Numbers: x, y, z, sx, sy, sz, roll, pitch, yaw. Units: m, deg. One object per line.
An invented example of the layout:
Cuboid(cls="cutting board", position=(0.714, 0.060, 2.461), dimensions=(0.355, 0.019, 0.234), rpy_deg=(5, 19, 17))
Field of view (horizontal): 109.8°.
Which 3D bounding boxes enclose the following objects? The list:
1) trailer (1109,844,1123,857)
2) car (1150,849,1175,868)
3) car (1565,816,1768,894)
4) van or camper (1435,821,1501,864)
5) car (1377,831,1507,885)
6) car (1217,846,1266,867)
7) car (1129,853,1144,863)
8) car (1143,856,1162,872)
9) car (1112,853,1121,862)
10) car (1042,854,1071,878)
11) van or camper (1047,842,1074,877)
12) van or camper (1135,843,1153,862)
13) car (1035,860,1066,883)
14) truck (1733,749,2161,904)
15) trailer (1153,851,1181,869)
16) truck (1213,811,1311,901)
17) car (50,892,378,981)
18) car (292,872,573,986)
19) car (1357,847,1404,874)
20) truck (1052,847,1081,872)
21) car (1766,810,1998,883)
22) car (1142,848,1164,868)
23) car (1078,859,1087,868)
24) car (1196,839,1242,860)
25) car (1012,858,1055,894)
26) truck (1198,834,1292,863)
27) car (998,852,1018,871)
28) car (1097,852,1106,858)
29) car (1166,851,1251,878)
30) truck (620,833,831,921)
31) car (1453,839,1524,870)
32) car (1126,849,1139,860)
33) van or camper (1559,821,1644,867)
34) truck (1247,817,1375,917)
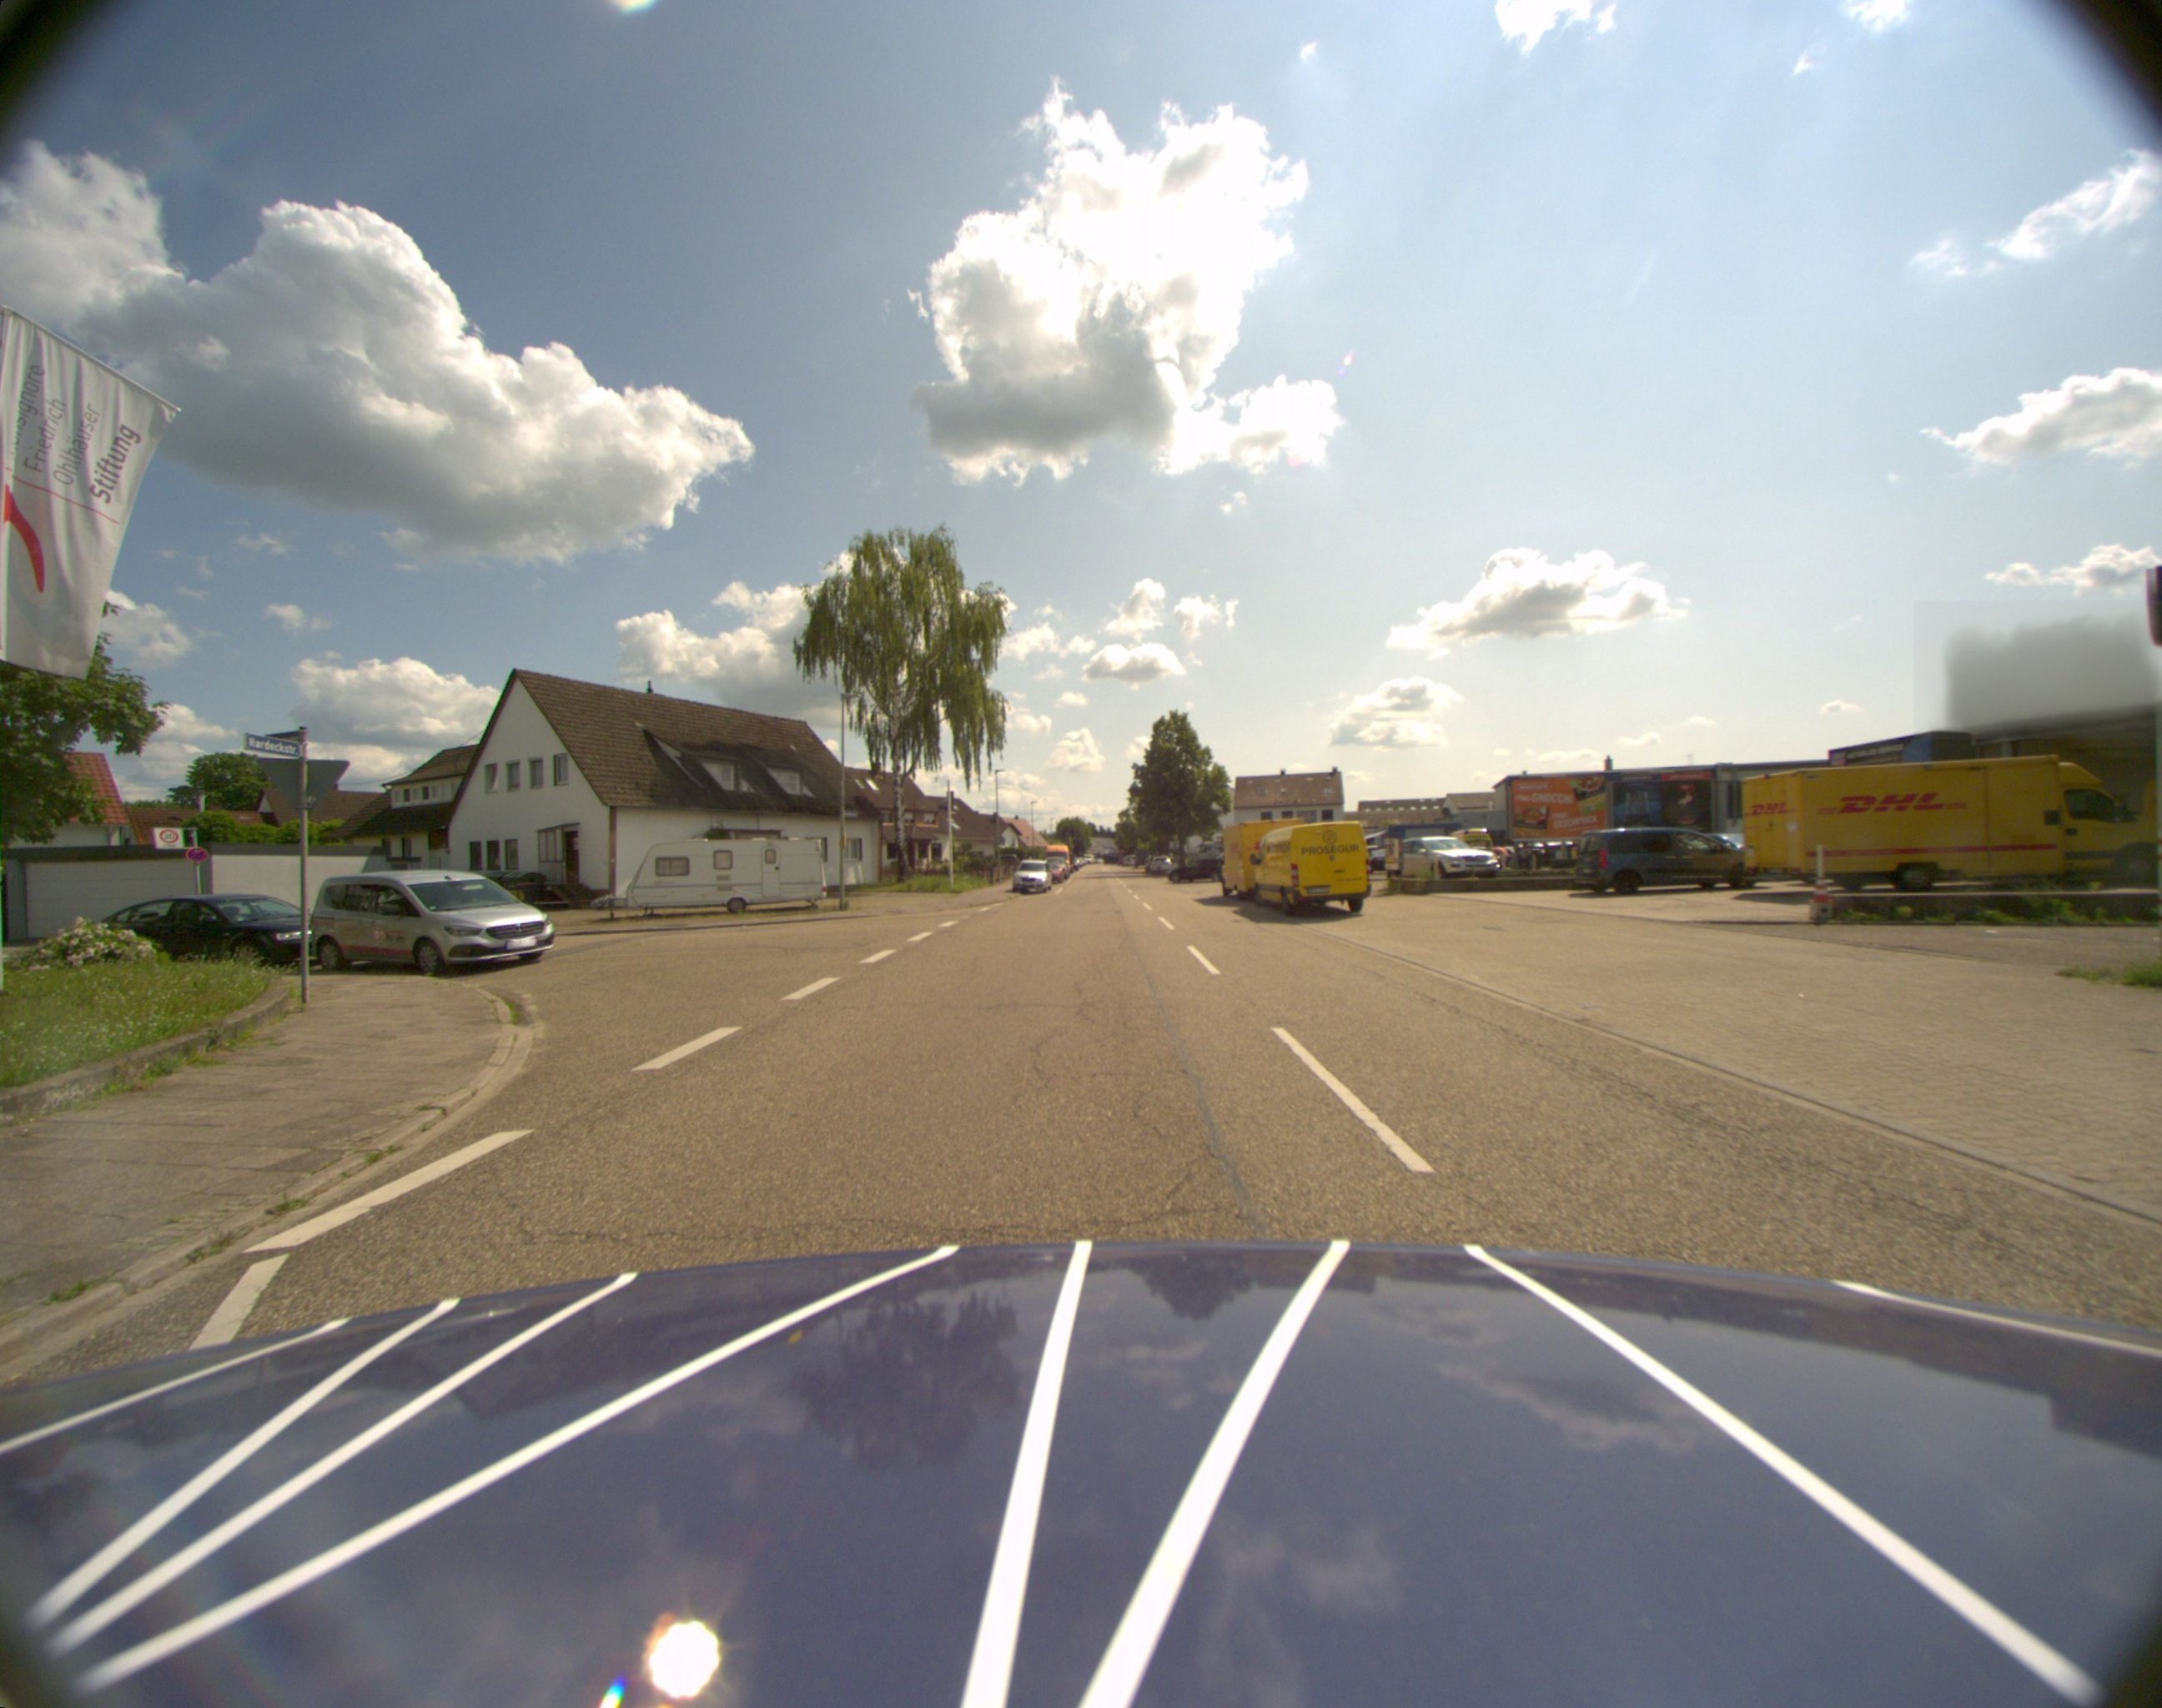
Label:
Cuboid(cls="trailer", position=(8.802, -0.808, 191.358), dimensions=(2.842, 3.051, 8.888), rpy_deg=(-1, 0, -1))
Cuboid(cls="car", position=(7.120, 0.364, 66.864), dimensions=(1.837, 1.519, 4.238), rpy_deg=(-3, 0, 3))
Cuboid(cls="car", position=(15.970, 0.041, 20.946), dimensions=(3.935, 1.799, 1.857), rpy_deg=(-4, 0, 11))
Cuboid(cls="van or camper", position=(23.792, -0.649, 46.912), dimensions=(1.997, 2.460, 5.365), rpy_deg=(-2, -1, 9))
Cuboid(cls="car", position=(12.409, 0.128, 26.500), dimensions=(1.834, 1.695, 4.704), rpy_deg=(-1, 0, -7))
Cuboid(cls="car", position=(14.721, 0.199, 69.658), dimensions=(4.153, 1.778, 1.827), rpy_deg=(-1, 1, 4))
Cuboid(cls="car", position=(9.032, 0.608, 123.858), dimensions=(1.753, 1.452, 4.709), rpy_deg=(-5, -1, -1))
Cuboid(cls="car", position=(7.254, 1.019, 77.658), dimensions=(1.703, 1.475, 4.159), rpy_deg=(-2, 0, 3))
Cuboid(cls="car", position=(7.926, 0.702, 169.991), dimensions=(2.056, 2.022, 5.141), rpy_deg=(0, 0, 1))
Cuboid(cls="car", position=(-1.740, 0.869, 55.629), dimensions=(1.837, 1.630, 4.239), rpy_deg=(-2, 0, 1))
Cuboid(cls="van or camper", position=(-1.561, 0.420, 60.729), dimensions=(1.999, 2.648, 5.769), rpy_deg=(-2, 0, -1))
Cuboid(cls="van or camper", position=(8.245, -0.185, 99.971), dimensions=(1.998, 2.303, 5.935), rpy_deg=(-5, 0, 4))
Cuboid(cls="car", position=(-1.877, 1.063, 48.559), dimensions=(1.673, 1.327, 4.438), rpy_deg=(-2, 0, 1))
Cuboid(cls="truck", position=(19.386, -0.523, 17.109), dimensions=(6.608, 2.833, 2.531), rpy_deg=(-4, 0, 14))
Cuboid(cls="trailer", position=(7.013, 0.505, 62.280), dimensions=(1.766, 1.282, 4.508), rpy_deg=(-5, 0, 2))
Cuboid(cls="truck", position=(6.588, 0.051, 28.651), dimensions=(2.225, 2.840, 7.070), rpy_deg=(-3, 0, 3))
Cuboid(cls="car", position=(-17.110, 1.594, 15.145), dimensions=(4.623, 1.419, 1.759), rpy_deg=(-2, 2, 3))
Cuboid(cls="car", position=(-11.804, 1.277, 13.867), dimensions=(4.400, 1.742, 1.867), rpy_deg=(-1, 1, 19))
Cuboid(cls="car", position=(18.654, 0.402, 47.505), dimensions=(1.757, 1.524, 4.167), rpy_deg=(-3, 0, 8))
Cuboid(cls="truck", position=(-1.392, 0.559, 77.877), dimensions=(2.528, 2.286, 5.895), rpy_deg=(-4, 0, 2))
Cuboid(cls="car", position=(20.731, -0.179, 19.838), dimensions=(3.848, 1.721, 1.734), rpy_deg=(-1, 0, 12))
Cuboid(cls="car", position=(6.822, 0.369, 72.226), dimensions=(1.697, 1.690, 4.400), rpy_deg=(-4, 0, 1))
Cuboid(cls="car", position=(0.310, 1.845, 154.059), dimensions=(1.896, 1.763, 4.709), rpy_deg=(-1, 0, 1))
Cuboid(cls="car", position=(15.841, -0.508, 87.139), dimensions=(5.008, 2.219, 2.002), rpy_deg=(-2, 2, 14))
Cuboid(cls="car", position=(-2.279, 1.025, 37.317), dimensions=(1.614, 1.571, 4.001), rpy_deg=(-3, 0, 3))
Cuboid(cls="truck", position=(17.018, -0.569, 79.192), dimensions=(9.277, 2.839, 2.721), rpy_deg=(-1, 0, 6))
Cuboid(cls="car", position=(-7.449, 0.720, 77.746), dimensions=(1.862, 1.855, 5.019), rpy_deg=(-1, 0, -3))
Cuboid(cls="car", position=(5.306, 0.312, 198.253), dimensions=(1.818, 1.513, 4.268), rpy_deg=(-1, 0, 10))
Cuboid(cls="car", position=(7.609, 0.640, 45.571), dimensions=(4.581, 1.386, 2.004), rpy_deg=(-3, 1, 35))
Cuboid(cls="truck", position=(-11.811, 0.675, 25.635), dimensions=(6.067, 2.562, 2.561), rpy_deg=(-2, 0, -25))
Cuboid(cls="car", position=(18.377, 0.042, 34.436), dimensions=(1.895, 1.282, 3.754), rpy_deg=(-2, -1, 13))
Cuboid(cls="car", position=(8.838, 0.083, 129.781), dimensions=(1.814, 1.795, 4.491), rpy_deg=(-5, 0, 1))
Cuboid(cls="van or camper", position=(30.524, -0.524, 44.799), dimensions=(1.997, 2.460, 5.365), rpy_deg=(-2, -1, 9))
Cuboid(cls="truck", position=(6.280, 0.309, 21.569), dimensions=(1.998, 2.399, 6.065), rpy_deg=(-2, 0, 3))
